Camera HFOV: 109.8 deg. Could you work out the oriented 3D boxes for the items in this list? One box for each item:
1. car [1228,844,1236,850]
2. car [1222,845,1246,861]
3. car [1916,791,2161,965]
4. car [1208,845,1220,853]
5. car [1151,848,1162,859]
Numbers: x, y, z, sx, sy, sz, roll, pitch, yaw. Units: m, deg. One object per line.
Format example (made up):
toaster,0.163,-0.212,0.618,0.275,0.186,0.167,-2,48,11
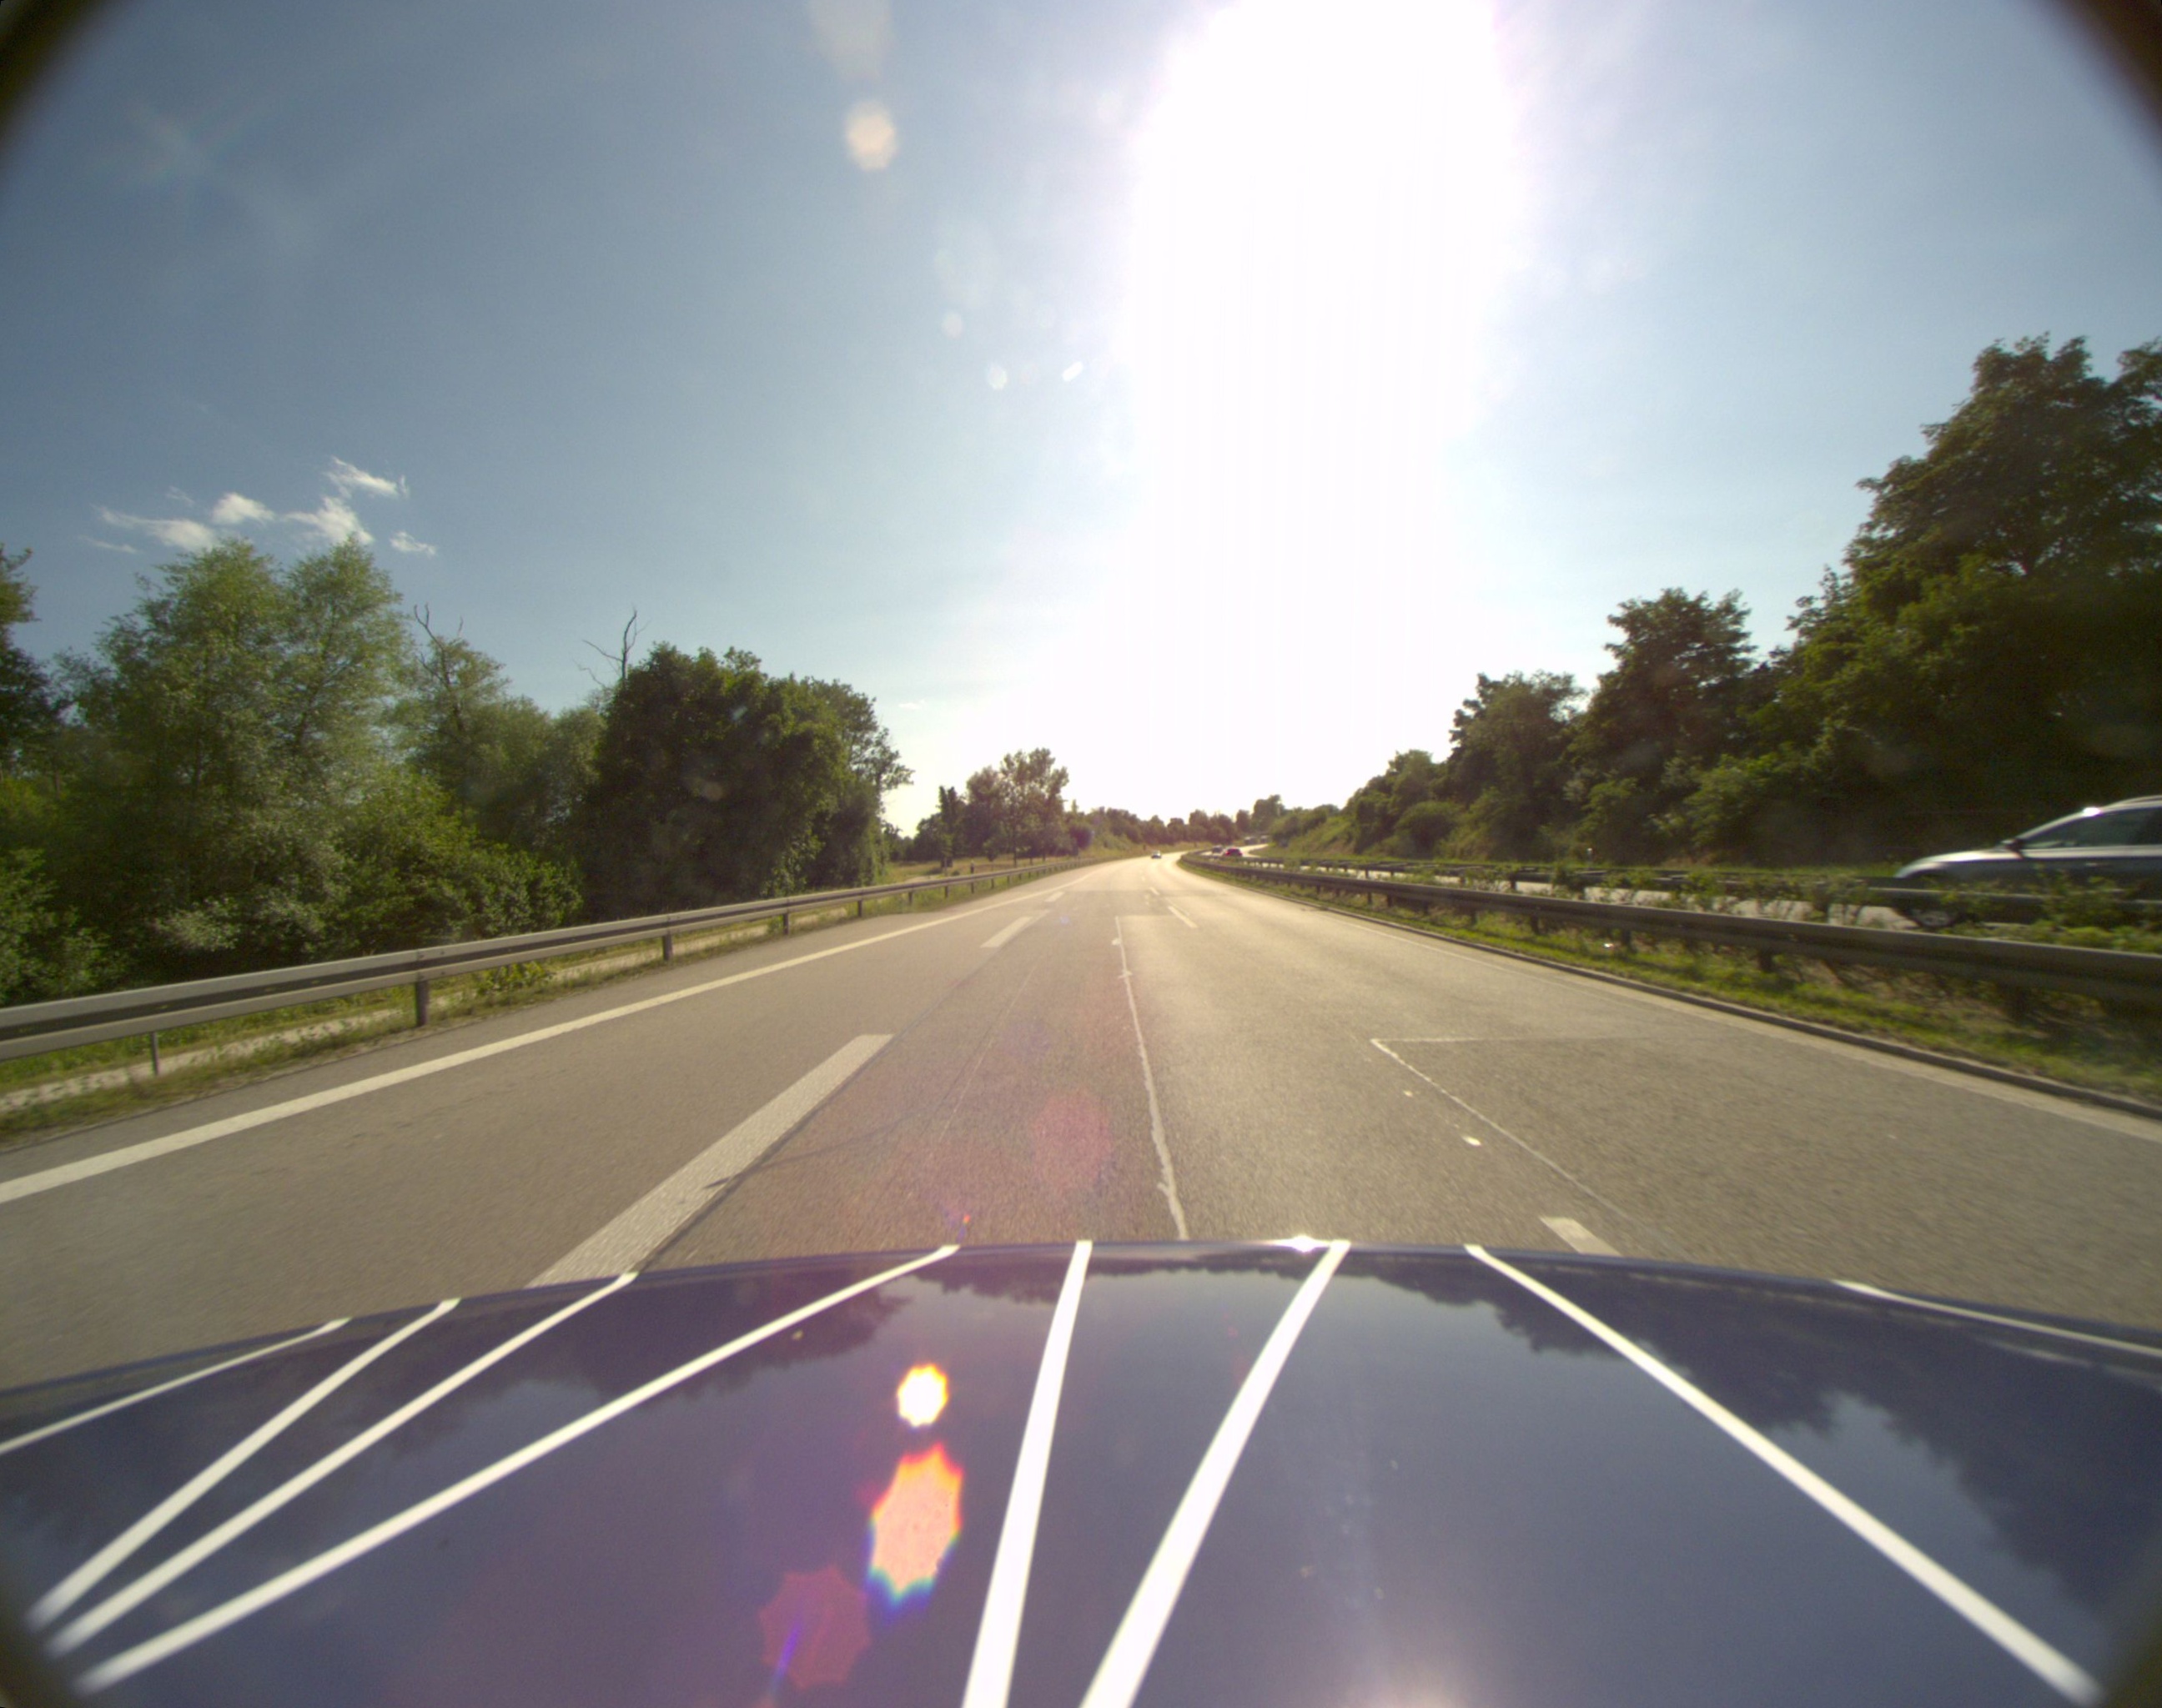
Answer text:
car,39.871,-1.874,200.680,1.823,1.471,4.687,-2,1,7
car,15.464,-0.164,76.823,1.648,1.446,4.907,-2,1,3
car,10.557,0.195,6.376,1.998,1.536,4.676,-1,1,1
car,27.310,-0.985,156.059,1.998,1.642,4.435,-1,1,4
car,14.375,-0.146,144.422,1.998,2.002,4.600,-4,0,5
